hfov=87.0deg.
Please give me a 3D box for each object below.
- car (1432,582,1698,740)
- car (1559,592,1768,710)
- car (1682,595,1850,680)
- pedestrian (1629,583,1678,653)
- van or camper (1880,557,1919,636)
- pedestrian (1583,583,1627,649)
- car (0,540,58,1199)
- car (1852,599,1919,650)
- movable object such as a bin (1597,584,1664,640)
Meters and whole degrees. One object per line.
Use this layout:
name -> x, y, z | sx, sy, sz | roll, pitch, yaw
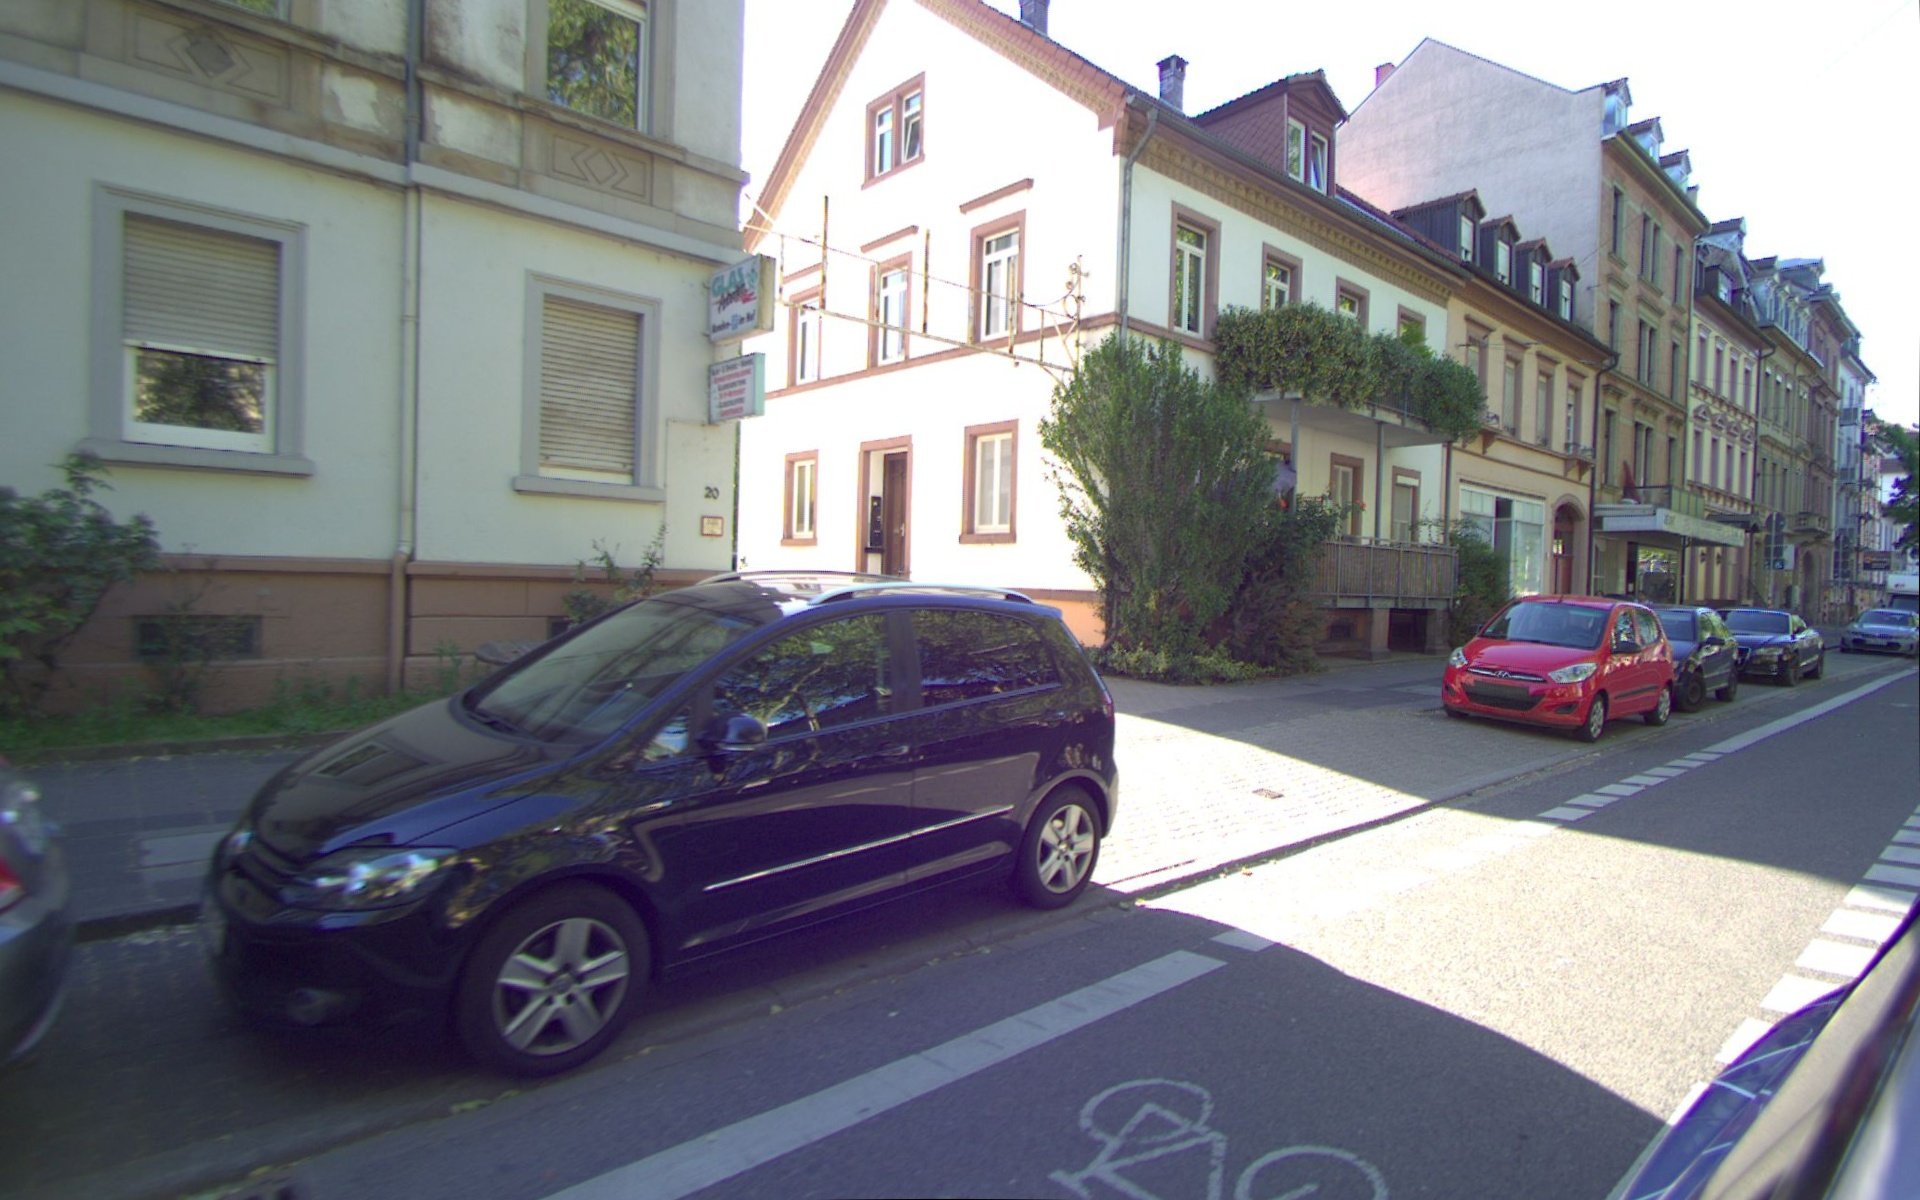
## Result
car -> 7.321, 0.619, 12.142 | 3.512, 1.565, 1.638 | 0, 2, -40
car -> 10.615, 0.664, 15.177 | 3.801, 1.474, 1.654 | 0, 3, -41
car -> 15.844, 0.648, 19.810 | 4.414, 1.409, 1.698 | 0, 3, -40
pedestrian -> 15.542, 0.388, 22.675 | 0.851, 1.523, 0.661 | 0, 2, -42
van or camper -> 40.545, -0.094, 41.841 | 7.743, 3.007, 2.484 | 0, 5, -40
pedestrian -> 14.878, 0.357, 23.349 | 0.772, 1.501, 0.658 | 0, 1, -42
car -> -4.124, 0.608, 1.831 | 3.703, 1.473, 1.803 | 0, 5, -42
car -> 30.042, 0.730, 32.290 | 4.584, 1.452, 1.813 | 0, 3, -42
movable object such as a bin -> 19.163, 0.328, 28.935 | 1.264, 1.539, 1.296 | 0, 1, -41
